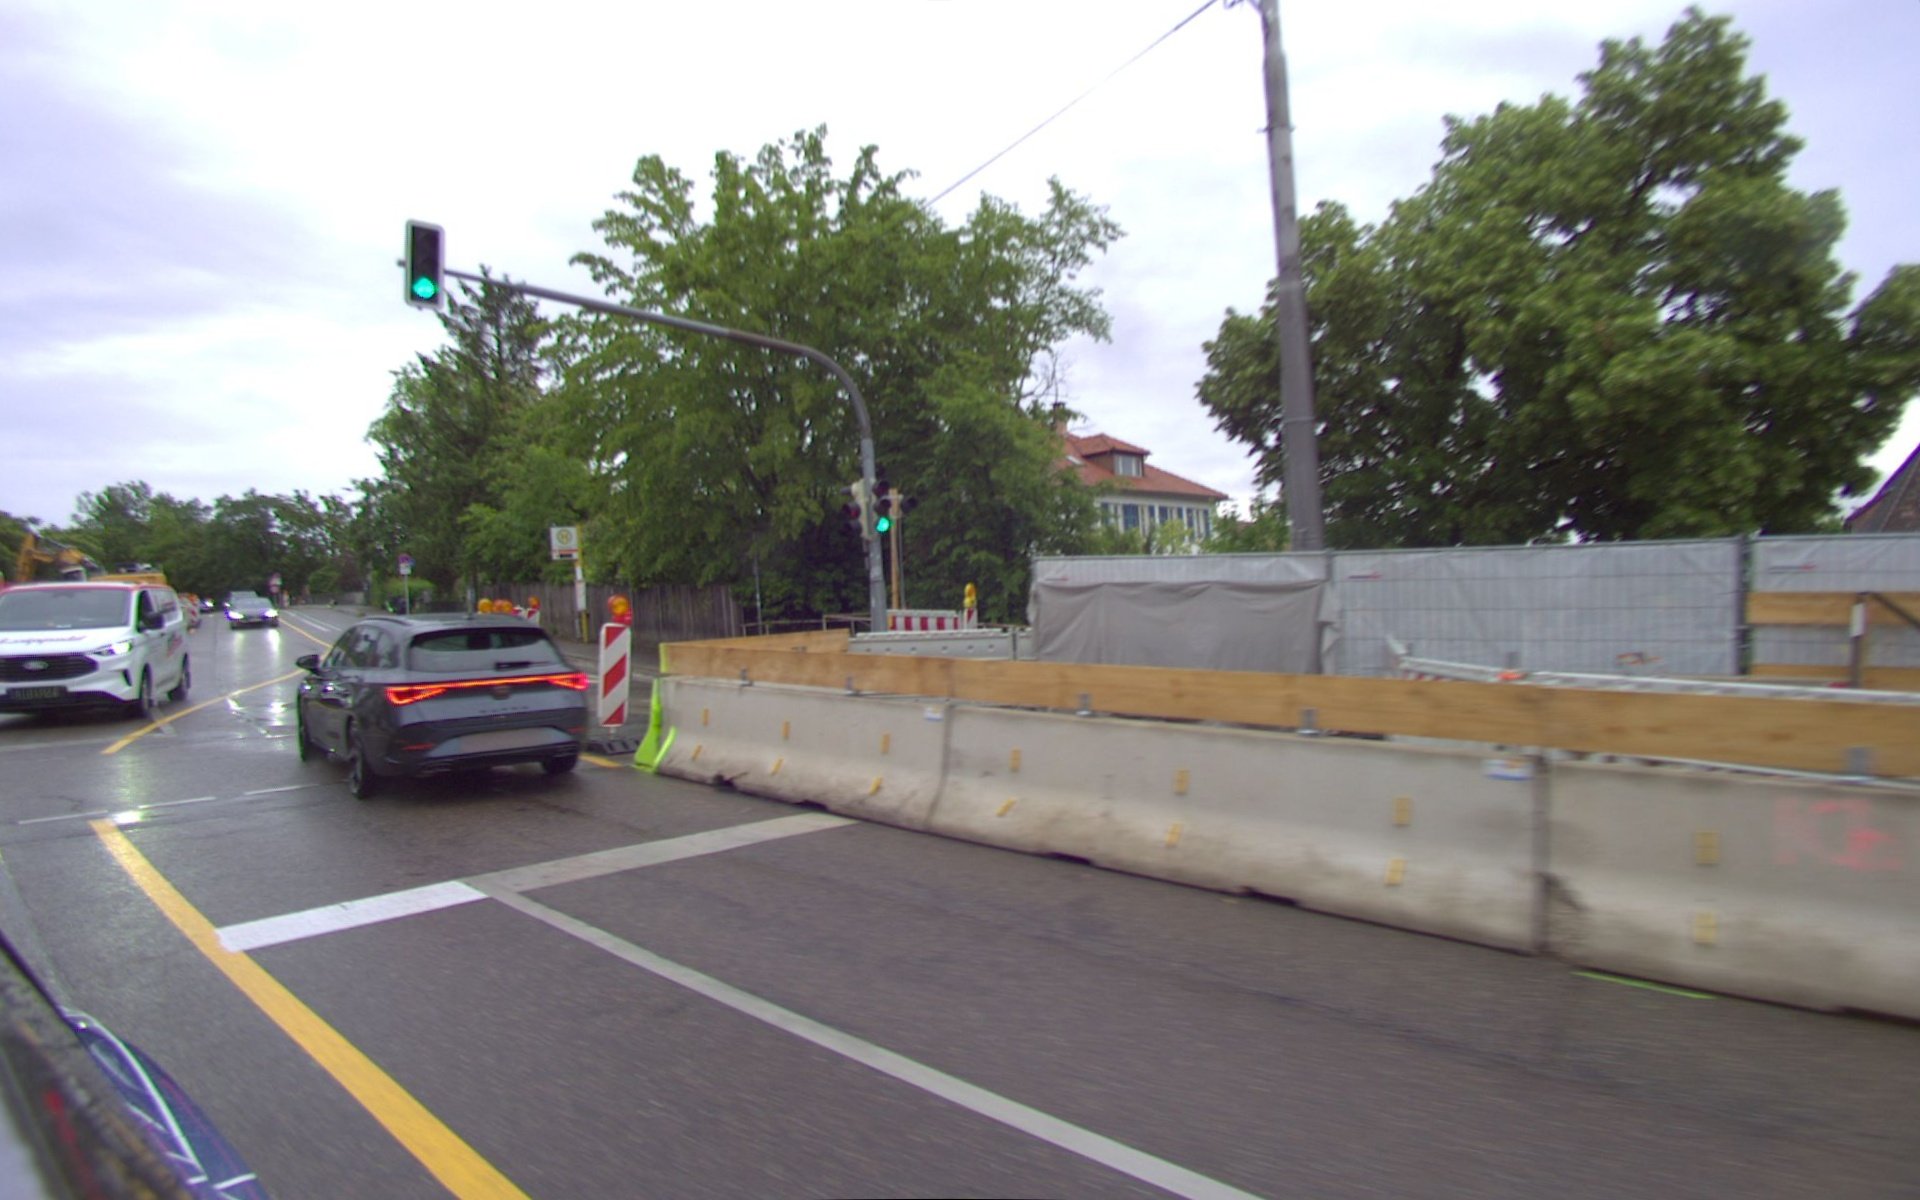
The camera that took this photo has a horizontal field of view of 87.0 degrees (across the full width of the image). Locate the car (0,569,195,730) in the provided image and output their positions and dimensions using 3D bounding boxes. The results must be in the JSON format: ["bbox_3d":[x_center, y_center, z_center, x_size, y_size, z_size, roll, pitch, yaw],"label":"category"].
[{"bbox_3d":[-13.044,0.693,15.060,1.966,2.029,4.964,2,-2,-30],"label":"car"}]

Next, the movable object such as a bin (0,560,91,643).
[{"bbox_3d":[-40.389,0.091,43.746,2.408,3.228,3.943,-9,-3,44],"label":"movable object such as a bin"}]

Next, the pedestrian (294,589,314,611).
[{"bbox_3d":[-53.843,-0.028,83.057,0.974,1.781,0.918,-2,0,24],"label":"pedestrian"}]

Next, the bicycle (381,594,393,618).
[{"bbox_3d":[-34.889,0.364,61.625,0.415,1.359,1.747,-3,3,-36],"label":"bicycle"}]

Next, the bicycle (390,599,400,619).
[{"bbox_3d":[-32.918,0.518,58.974,0.333,1.115,1.259,-3,3,-36],"label":"bicycle"}]

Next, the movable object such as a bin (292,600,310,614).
[{"bbox_3d":[-56.538,0.600,86.850,1.024,1.115,0.978,-3,-1,34],"label":"movable object such as a bin"}]

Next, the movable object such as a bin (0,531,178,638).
[{"bbox_3d":[-43.925,-0.881,49.758,10.729,4.954,3.050,1,3,18],"label":"movable object such as a bin"}]

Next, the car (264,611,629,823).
[{"bbox_3d":[-4.842,0.857,9.205,1.763,1.413,4.369,-2,0,-44],"label":"car"}]
